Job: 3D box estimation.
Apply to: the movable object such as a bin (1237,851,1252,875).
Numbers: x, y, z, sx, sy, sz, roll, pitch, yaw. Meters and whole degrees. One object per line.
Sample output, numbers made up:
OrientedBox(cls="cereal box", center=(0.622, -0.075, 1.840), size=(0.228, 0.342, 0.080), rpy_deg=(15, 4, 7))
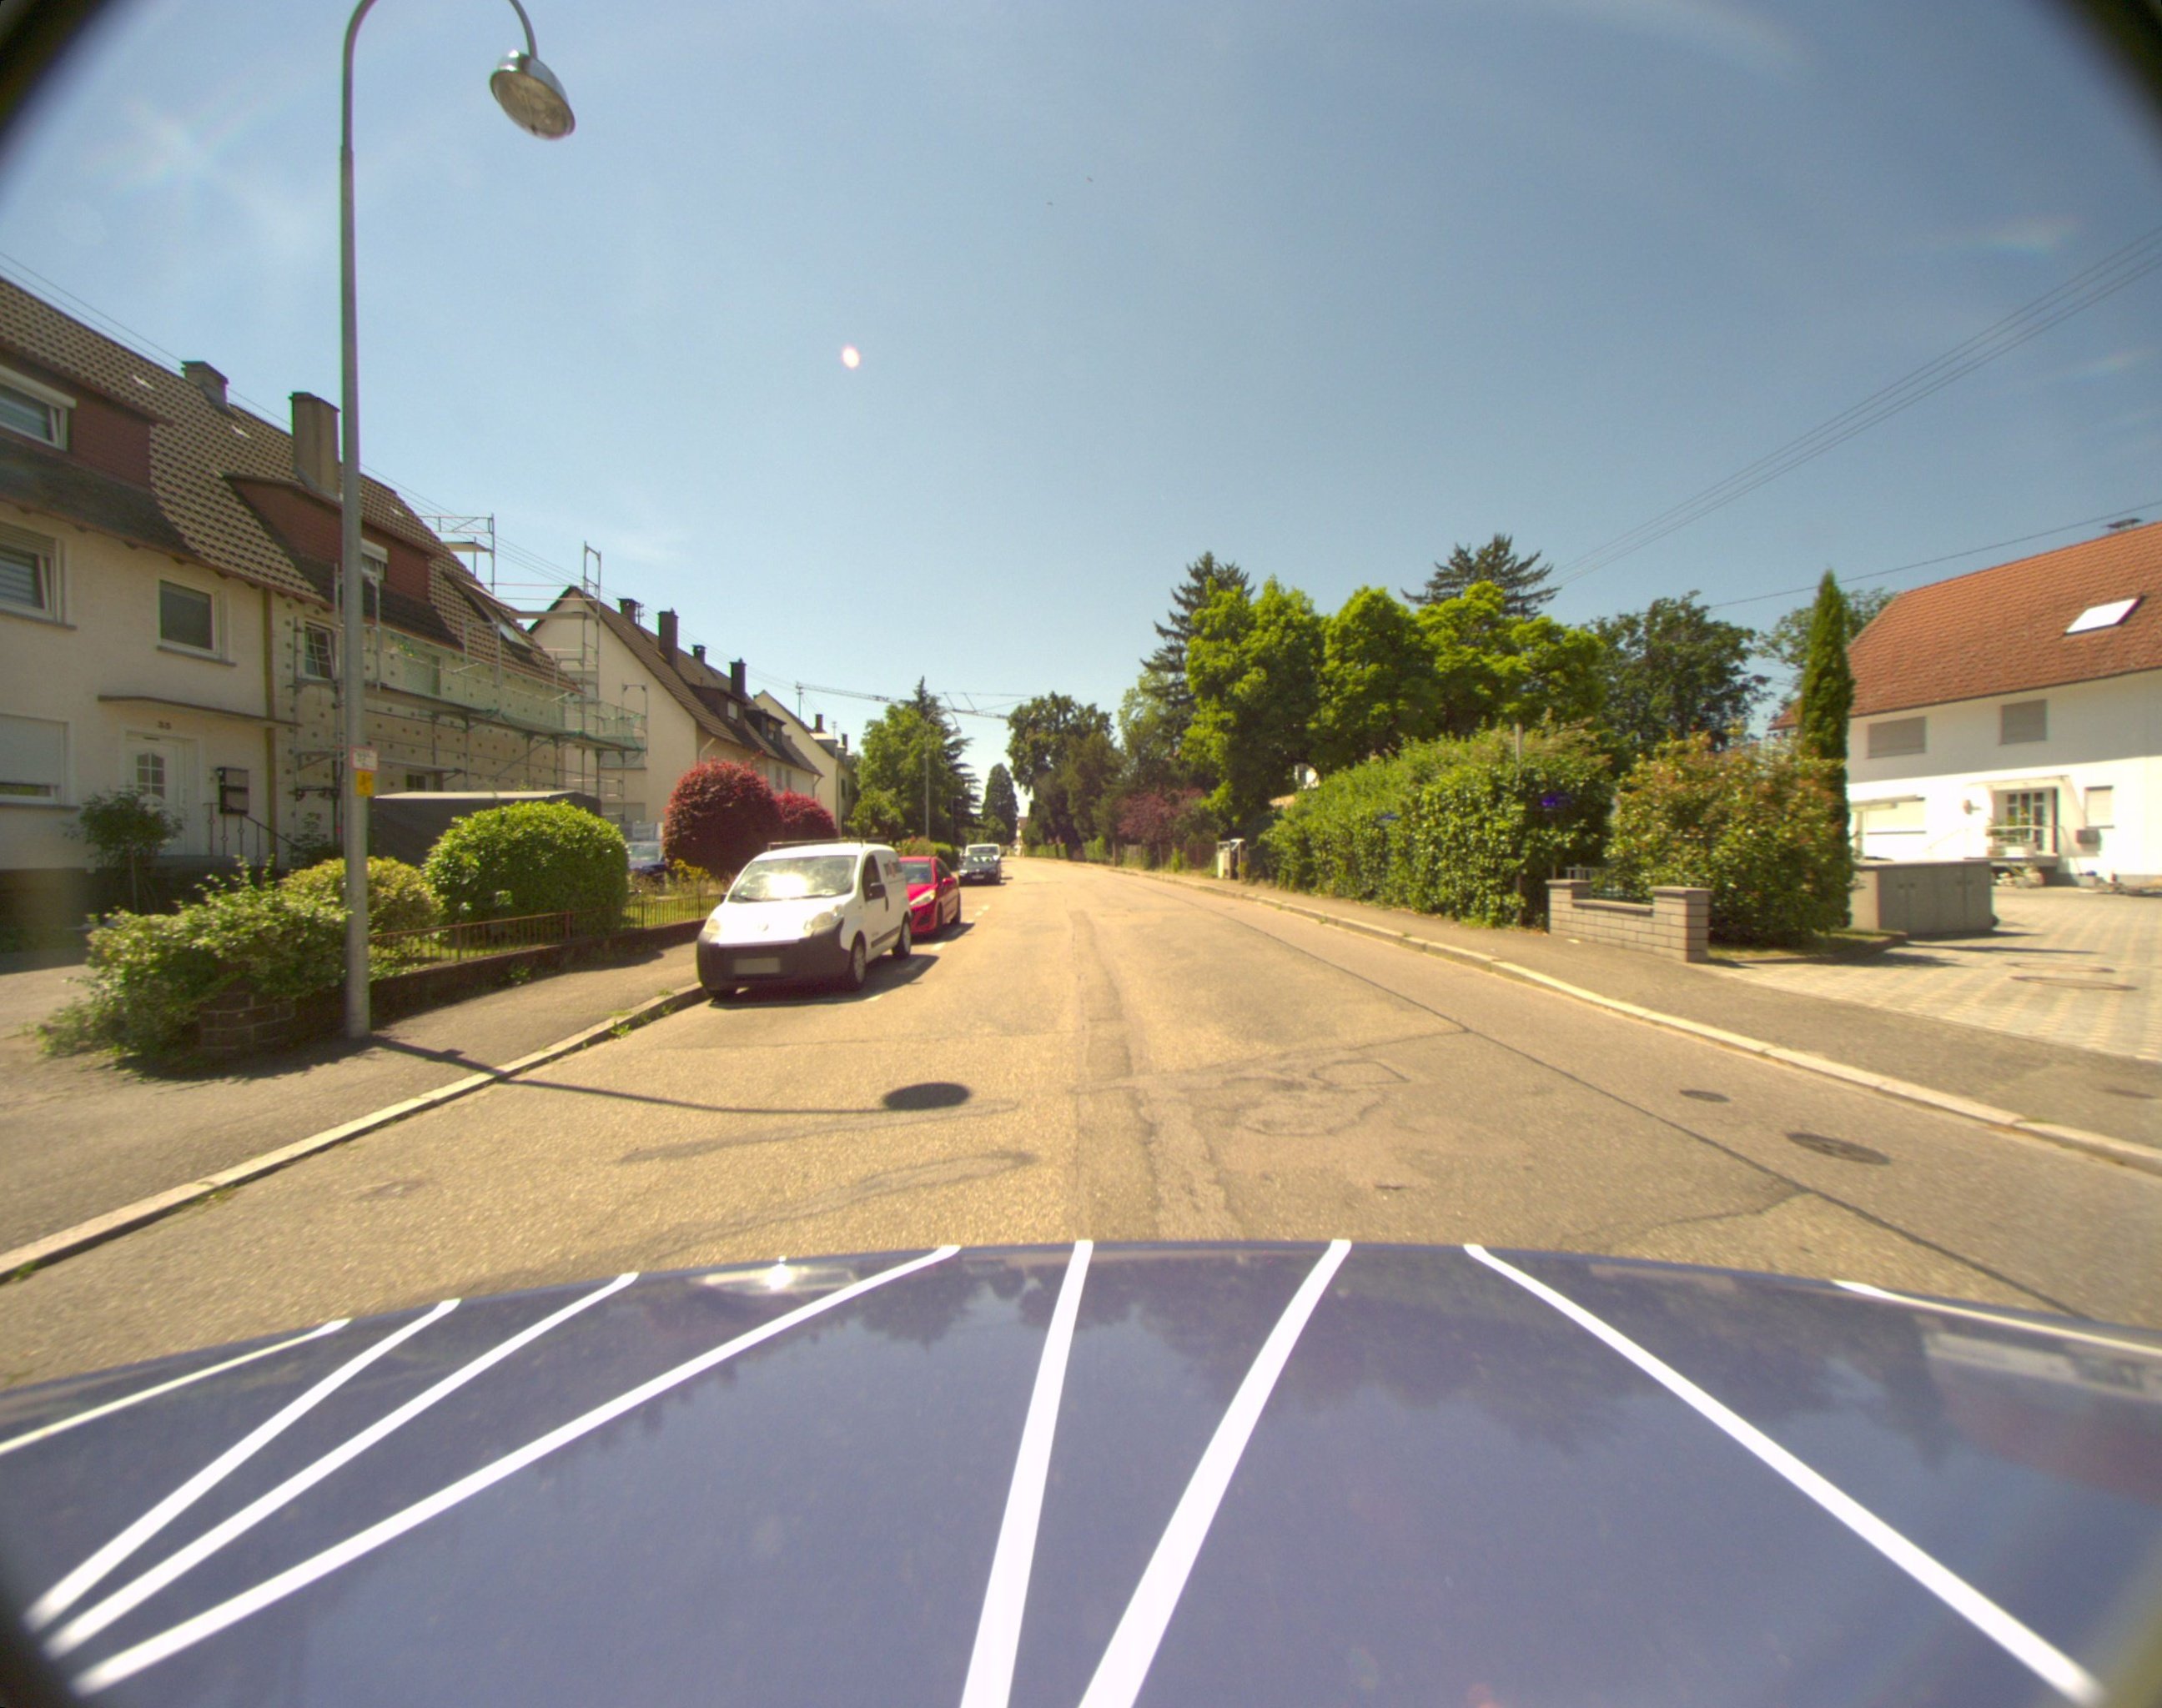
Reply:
OrientedBox(cls="movable object such as a bin", center=(6.363, 0.356, 29.579), size=(0.468, 0.904, 0.458), rpy_deg=(-2, 2, -6))

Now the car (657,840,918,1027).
OrientedBox(cls="car", center=(-3.386, 0.772, 9.678), size=(1.668, 1.745, 3.998), rpy_deg=(-3, 2, 0))

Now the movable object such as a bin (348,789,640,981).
OrientedBox(cls="movable object such as a bin", center=(-9.172, 0.440, 12.118), size=(3.154, 2.731, 1.706), rpy_deg=(-2, 2, -3))

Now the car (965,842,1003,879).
OrientedBox(cls="car", center=(-5.335, 0.300, 42.138), size=(1.909, 1.914, 4.715), rpy_deg=(-1, 1, -7))

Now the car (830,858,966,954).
OrientedBox(cls="car", center=(-3.341, 0.880, 14.638), size=(1.668, 1.446, 3.999), rpy_deg=(-2, 1, -1))

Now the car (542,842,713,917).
OrientedBox(cls="car", center=(-10.183, 0.524, 17.453), size=(1.799, 1.501, 3.998), rpy_deg=(1, 0, -5))

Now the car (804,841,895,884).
OrientedBox(cls="car", center=(-10.103, 0.314, 33.504), size=(1.741, 1.527, 4.054), rpy_deg=(2, 5, 20))

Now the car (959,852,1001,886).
OrientedBox(cls="car", center=(-4.535, 0.633, 34.515), size=(1.661, 1.390, 3.997), rpy_deg=(-2, 1, -5))

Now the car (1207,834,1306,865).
OrientedBox(cls="car", center=(12.972, -0.354, 56.239), size=(6.684, 2.159, 2.399), rpy_deg=(1, 1, -10))

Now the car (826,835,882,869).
OrientedBox(cls="car", center=(-13.218, -0.117, 44.506), size=(1.749, 1.845, 4.400), rpy_deg=(2, 0, 2))
